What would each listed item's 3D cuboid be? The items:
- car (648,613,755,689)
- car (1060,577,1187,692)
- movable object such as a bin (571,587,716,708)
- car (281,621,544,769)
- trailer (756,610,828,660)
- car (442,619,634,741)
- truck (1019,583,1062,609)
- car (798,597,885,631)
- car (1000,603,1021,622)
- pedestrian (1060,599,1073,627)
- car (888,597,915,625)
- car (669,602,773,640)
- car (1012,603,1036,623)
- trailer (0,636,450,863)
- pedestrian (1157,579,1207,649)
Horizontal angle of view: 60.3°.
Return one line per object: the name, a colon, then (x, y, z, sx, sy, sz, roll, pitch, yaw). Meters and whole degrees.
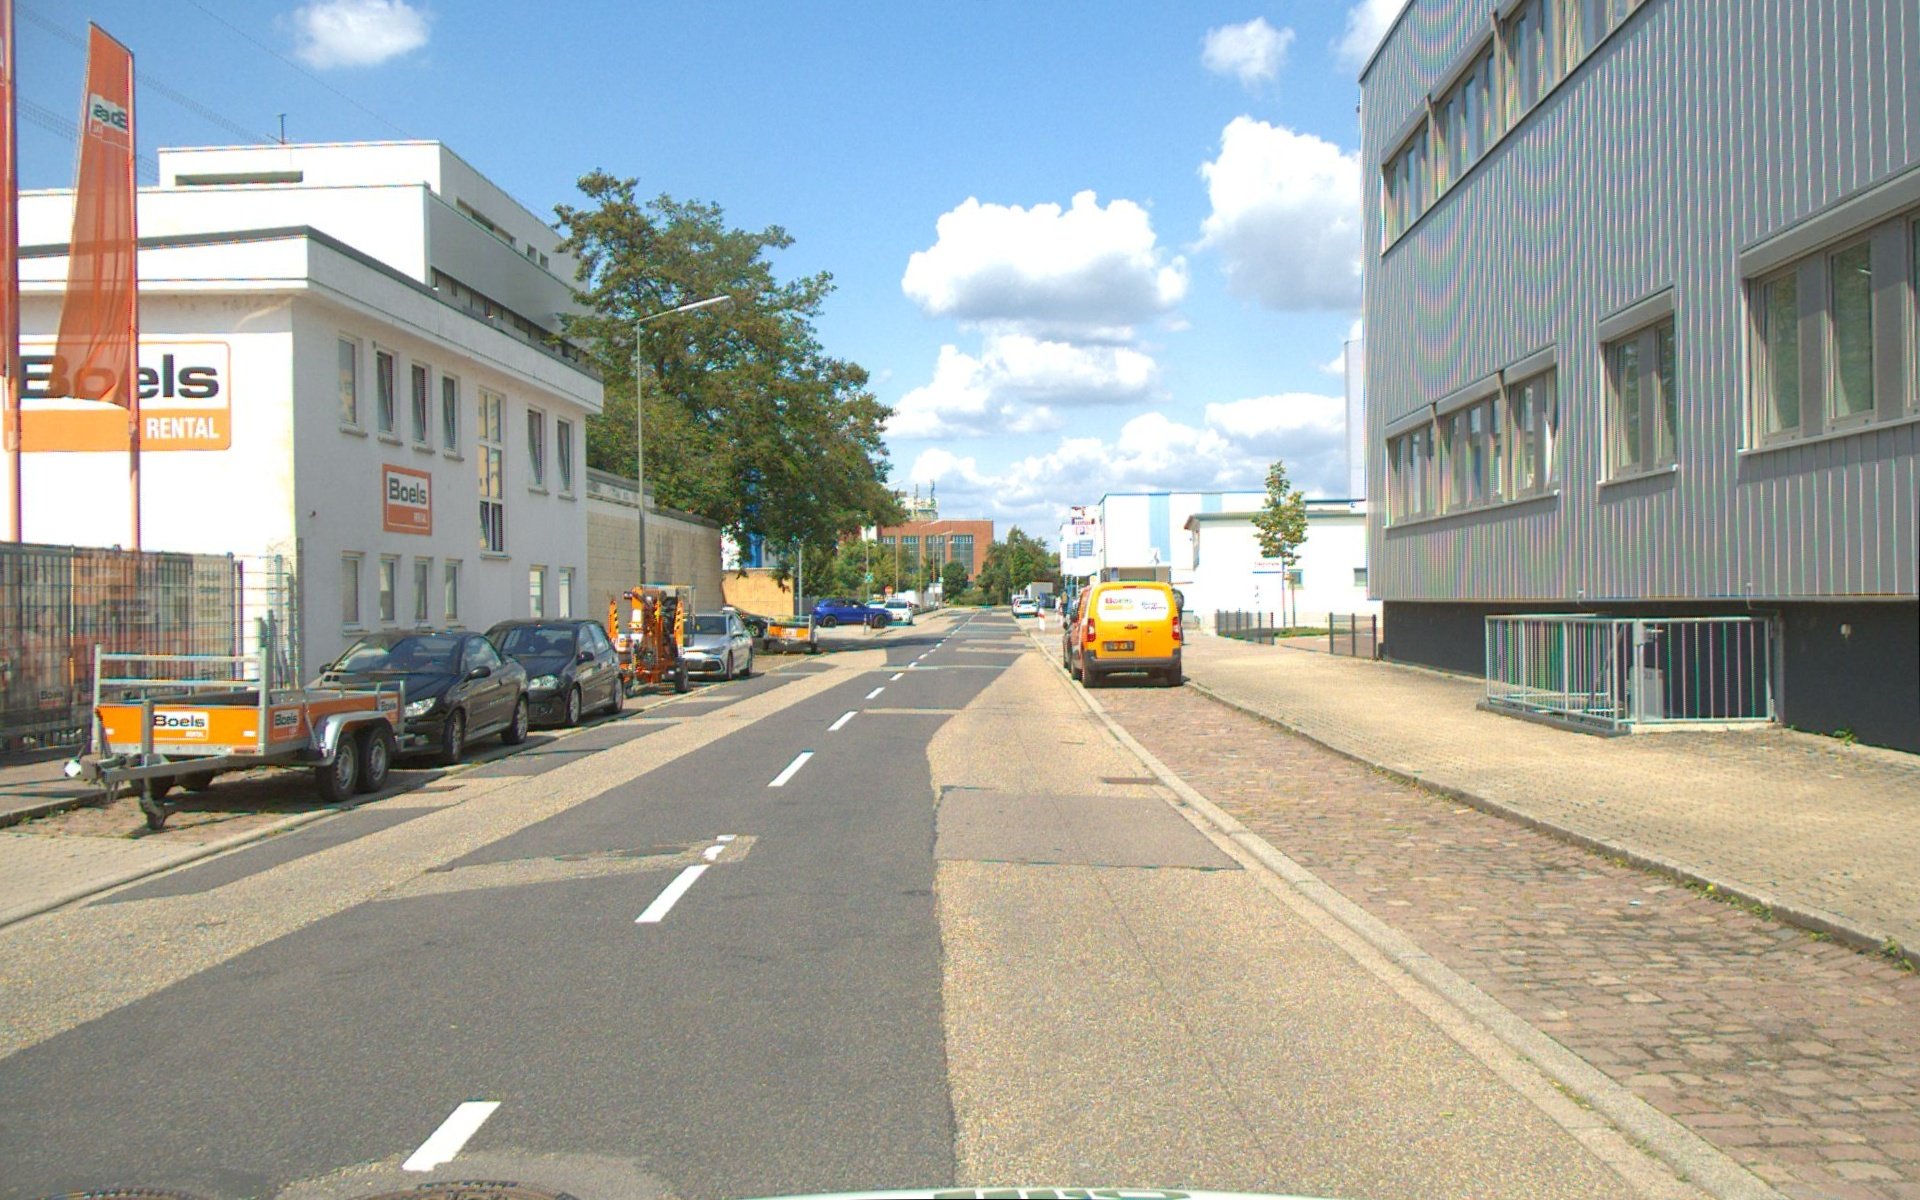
car: (-5.524, 1.060, 35.801, 1.639, 1.481, 4.513, 0, 0, -1)
car: (2.991, 0.596, 31.038, 1.834, 1.925, 4.452, 2, 0, -1)
movable object such as a bin: (-5.684, 0.775, 30.300, 1.580, 1.952, 5.139, 2, 1, 0)
car: (-5.910, 0.965, 18.320, 1.639, 1.400, 3.884, 0, 0, -1)
trailer: (-5.271, 1.073, 52.360, 1.730, 1.464, 4.336, 1, 0, 1)
car: (-5.818, 1.048, 23.285, 1.639, 1.481, 4.223, 0, 0, -1)
truck: (12.417, -0.651, 254.330, 2.279, 3.629, 9.346, 0, 2, 31)
car: (-6.621, 0.750, 92.362, 4.605, 1.621, 1.910, -3, 0, -13)
car: (4.484, 1.089, 146.749, 1.797, 1.547, 4.462, -1, 0, 1)
pedestrian: (7.118, 0.851, 110.565, 0.753, 1.787, 0.787, -4, 0, 1)
car: (-3.688, 0.681, 104.419, 1.651, 1.693, 3.998, -1, 1, -2)
car: (-9.841, 0.851, 68.292, 3.909, 1.386, 1.795, 2, 0, 4)
car: (5.185, 1.032, 133.983, 1.829, 1.547, 4.598, -1, 0, 1)
trailer: (-5.850, 1.062, 13.675, 1.731, 1.400, 5.050, 0, 0, -1)
pedestrian: (6.498, 0.407, 48.412, 0.976, 1.985, 1.084, -3, 0, -21)
